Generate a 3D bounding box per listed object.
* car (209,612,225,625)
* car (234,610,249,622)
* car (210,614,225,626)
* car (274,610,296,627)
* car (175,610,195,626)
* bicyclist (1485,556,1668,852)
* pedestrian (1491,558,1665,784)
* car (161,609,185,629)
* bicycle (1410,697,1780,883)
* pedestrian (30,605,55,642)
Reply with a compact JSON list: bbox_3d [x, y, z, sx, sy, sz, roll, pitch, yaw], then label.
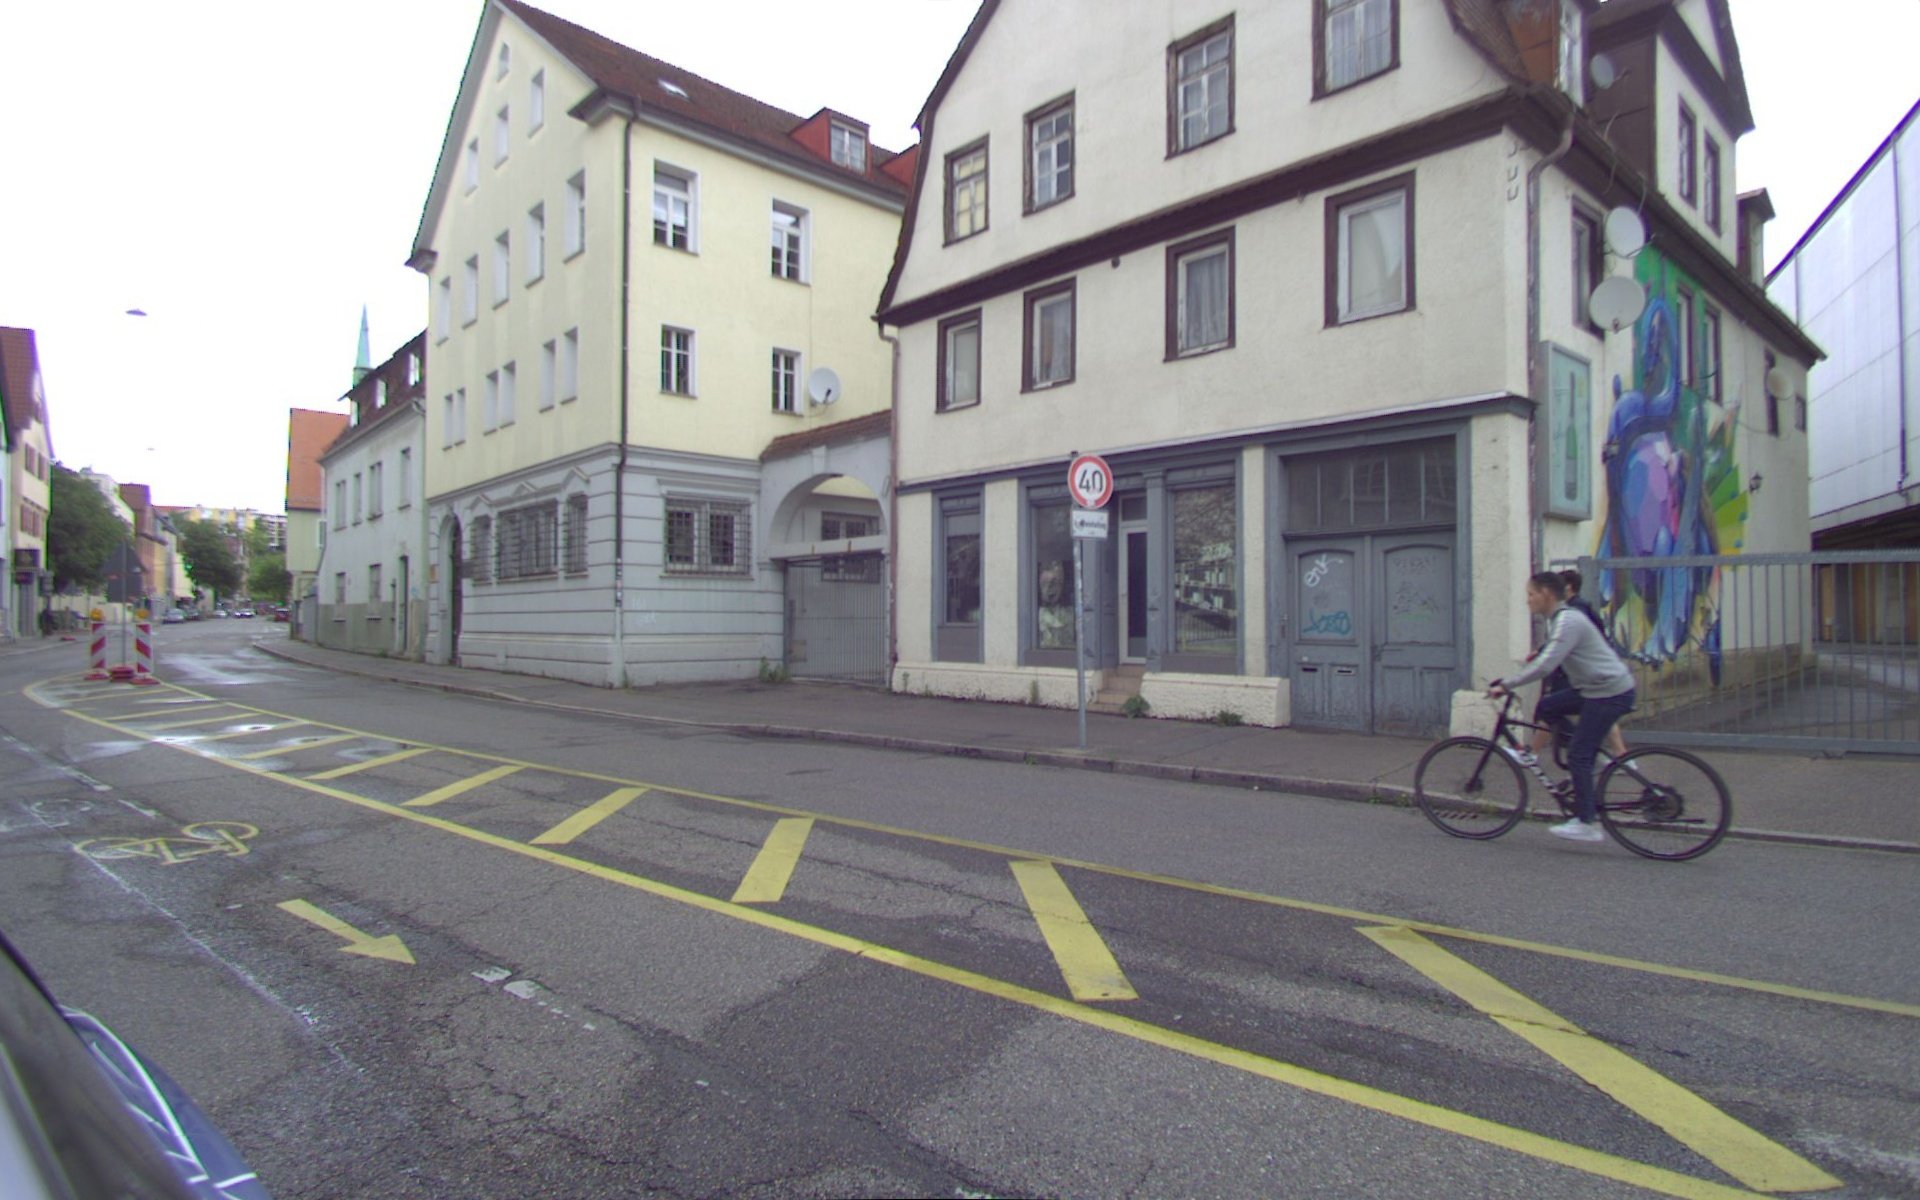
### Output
[{"bbox_3d":[-114.759,2.878,156.227,1.967,2.029,4.009,1,-2,-37],"label":"car"},{"bbox_3d":[-121.346,2.734,170.876,1.967,2.029,4.009,1,-2,-37],"label":"car"},{"bbox_3d":[-123.503,3.341,168.299,1.967,2.029,4.009,1,-2,-37],"label":"car"},{"bbox_3d":[-85.656,2.345,128.361,2.027,2.029,4.009,1,-2,-37],"label":"car"},{"bbox_3d":[-97.067,2.262,126.734,1.967,2.029,4.009,1,-2,-37],"label":"car"},{"bbox_3d":[3.907,0.618,6.421,0.811,1.714,0.715,-2,-2,45],"label":"bicyclist"},{"bbox_3d":[5.676,0.615,9.301,1.092,1.900,1.042,-4,-2,44],"label":"pedestrian"},{"bbox_3d":[-84.786,2.072,109.045,1.967,2.029,4.009,1,-2,-37],"label":"car"},{"bbox_3d":[3.900,1.113,6.356,0.535,0.899,1.881,1,-2,-44],"label":"bicycle"},{"bbox_3d":[-48.075,1.214,53.035,0.864,1.914,0.899,1,-2,-37],"label":"pedestrian"}]
